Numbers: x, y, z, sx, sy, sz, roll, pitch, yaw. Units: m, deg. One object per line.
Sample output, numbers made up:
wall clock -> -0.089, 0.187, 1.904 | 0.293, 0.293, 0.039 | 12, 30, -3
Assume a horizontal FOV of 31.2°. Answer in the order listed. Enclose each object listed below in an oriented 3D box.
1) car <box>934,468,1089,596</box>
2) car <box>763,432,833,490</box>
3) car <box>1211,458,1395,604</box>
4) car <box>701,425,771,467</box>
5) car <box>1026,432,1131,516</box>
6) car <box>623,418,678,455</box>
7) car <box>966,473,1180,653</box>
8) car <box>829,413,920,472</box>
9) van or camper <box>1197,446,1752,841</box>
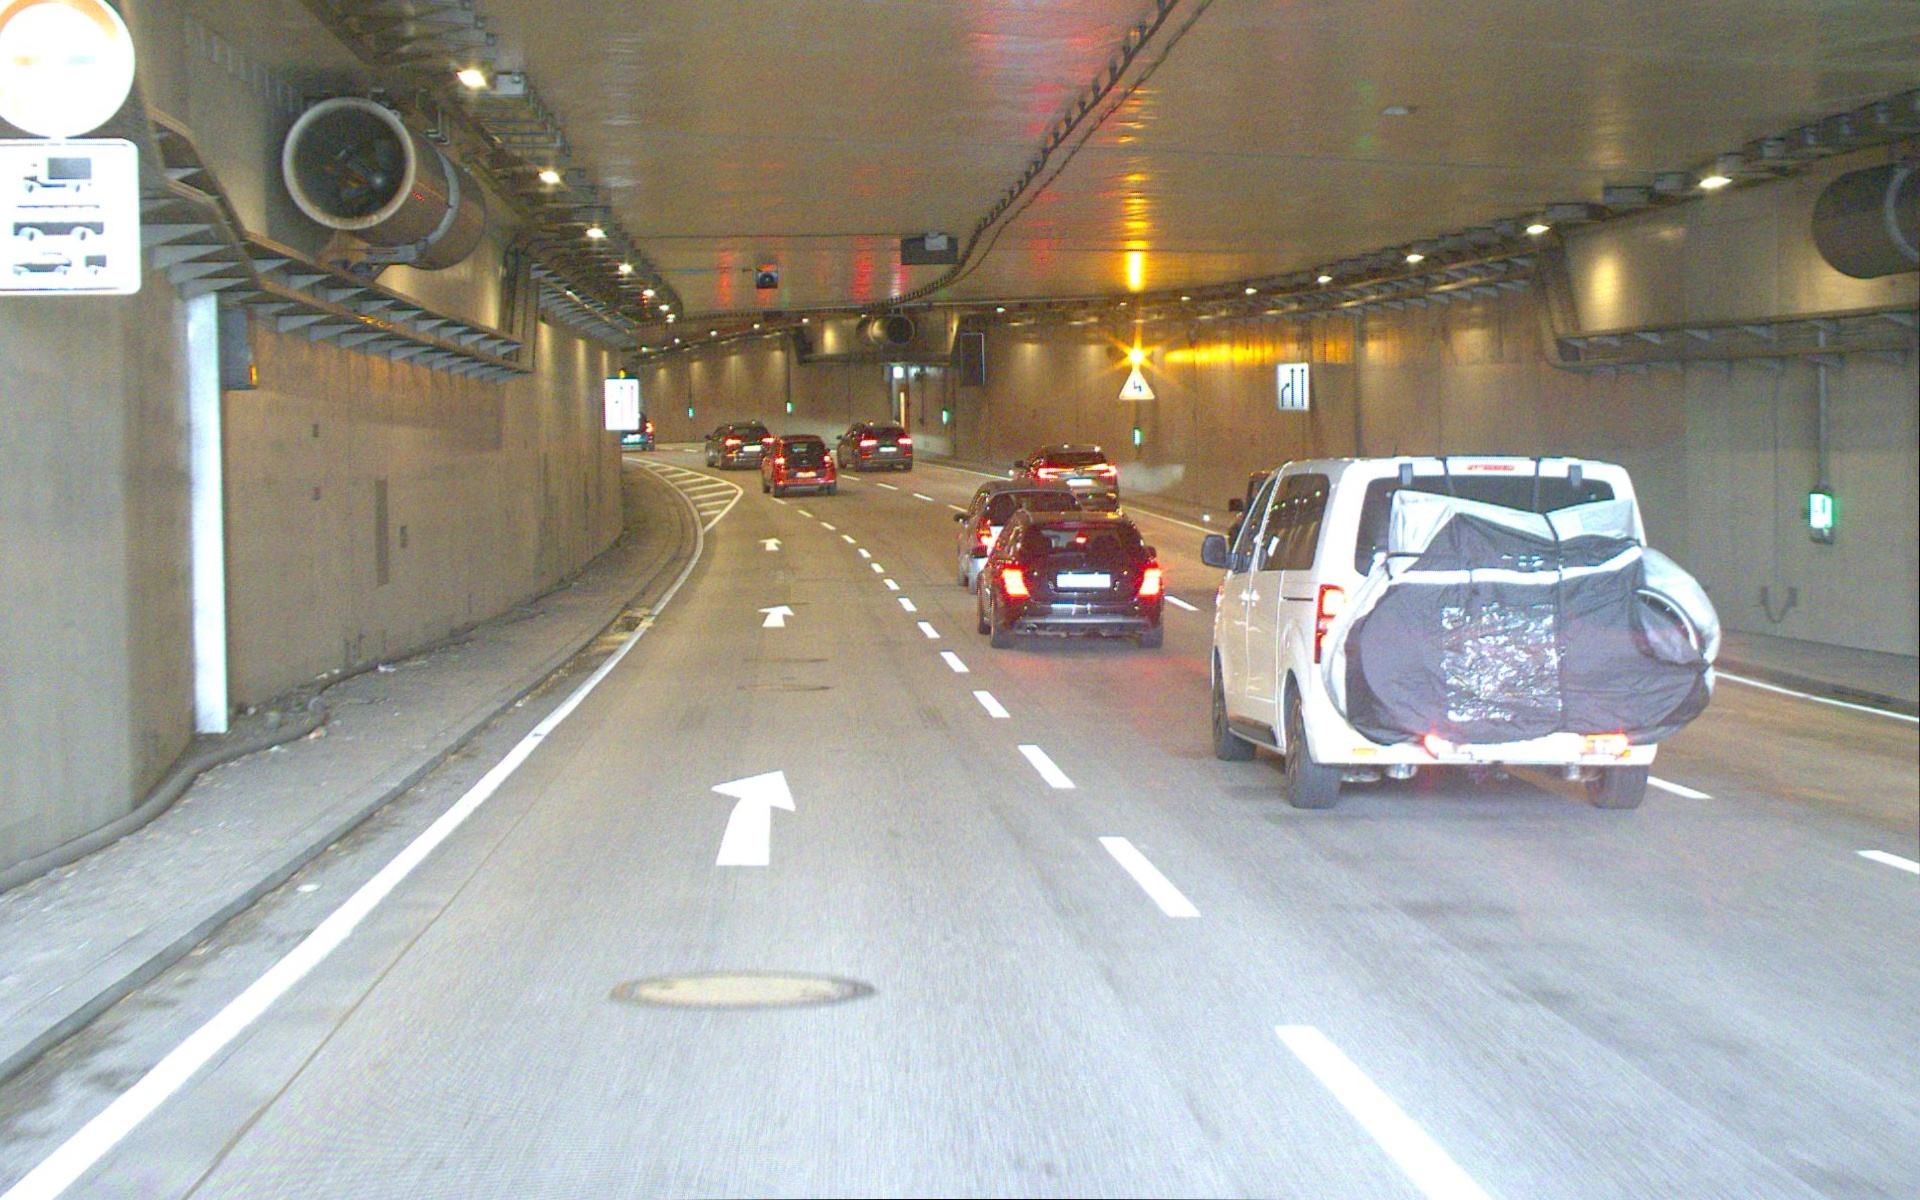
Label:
car -> 0.685, -0.995, 48.690 | 1.818, 1.575, 4.001 | 3, 3, -4
car -> -4.250, -3.621, 89.889 | 1.660, 1.483, 3.568 | 0, 2, -5
car -> 4.598, -0.974, 46.621 | 1.818, 1.743, 4.001 | 3, 3, -3
car -> -6.954, -4.749, 106.343 | 1.663, 1.242, 3.568 | 0, 2, -12
car -> 2.529, -2.733, 74.123 | 1.660, 1.628, 3.568 | 3, 3, -6
car -> -11.729, -6.181, 130.144 | 1.508, 1.242, 3.568 | -3, 2, -14
car -> 1.123, -0.440, 35.990 | 1.818, 1.678, 4.001 | 1, 3, -4
car -> -2.572, -4.676, 102.305 | 1.989, 1.670, 4.510 | 0, 2, -11
van or camper -> 2.643, 0.142, 19.128 | 1.993, 1.839, 5.509 | 1, 1, -2
